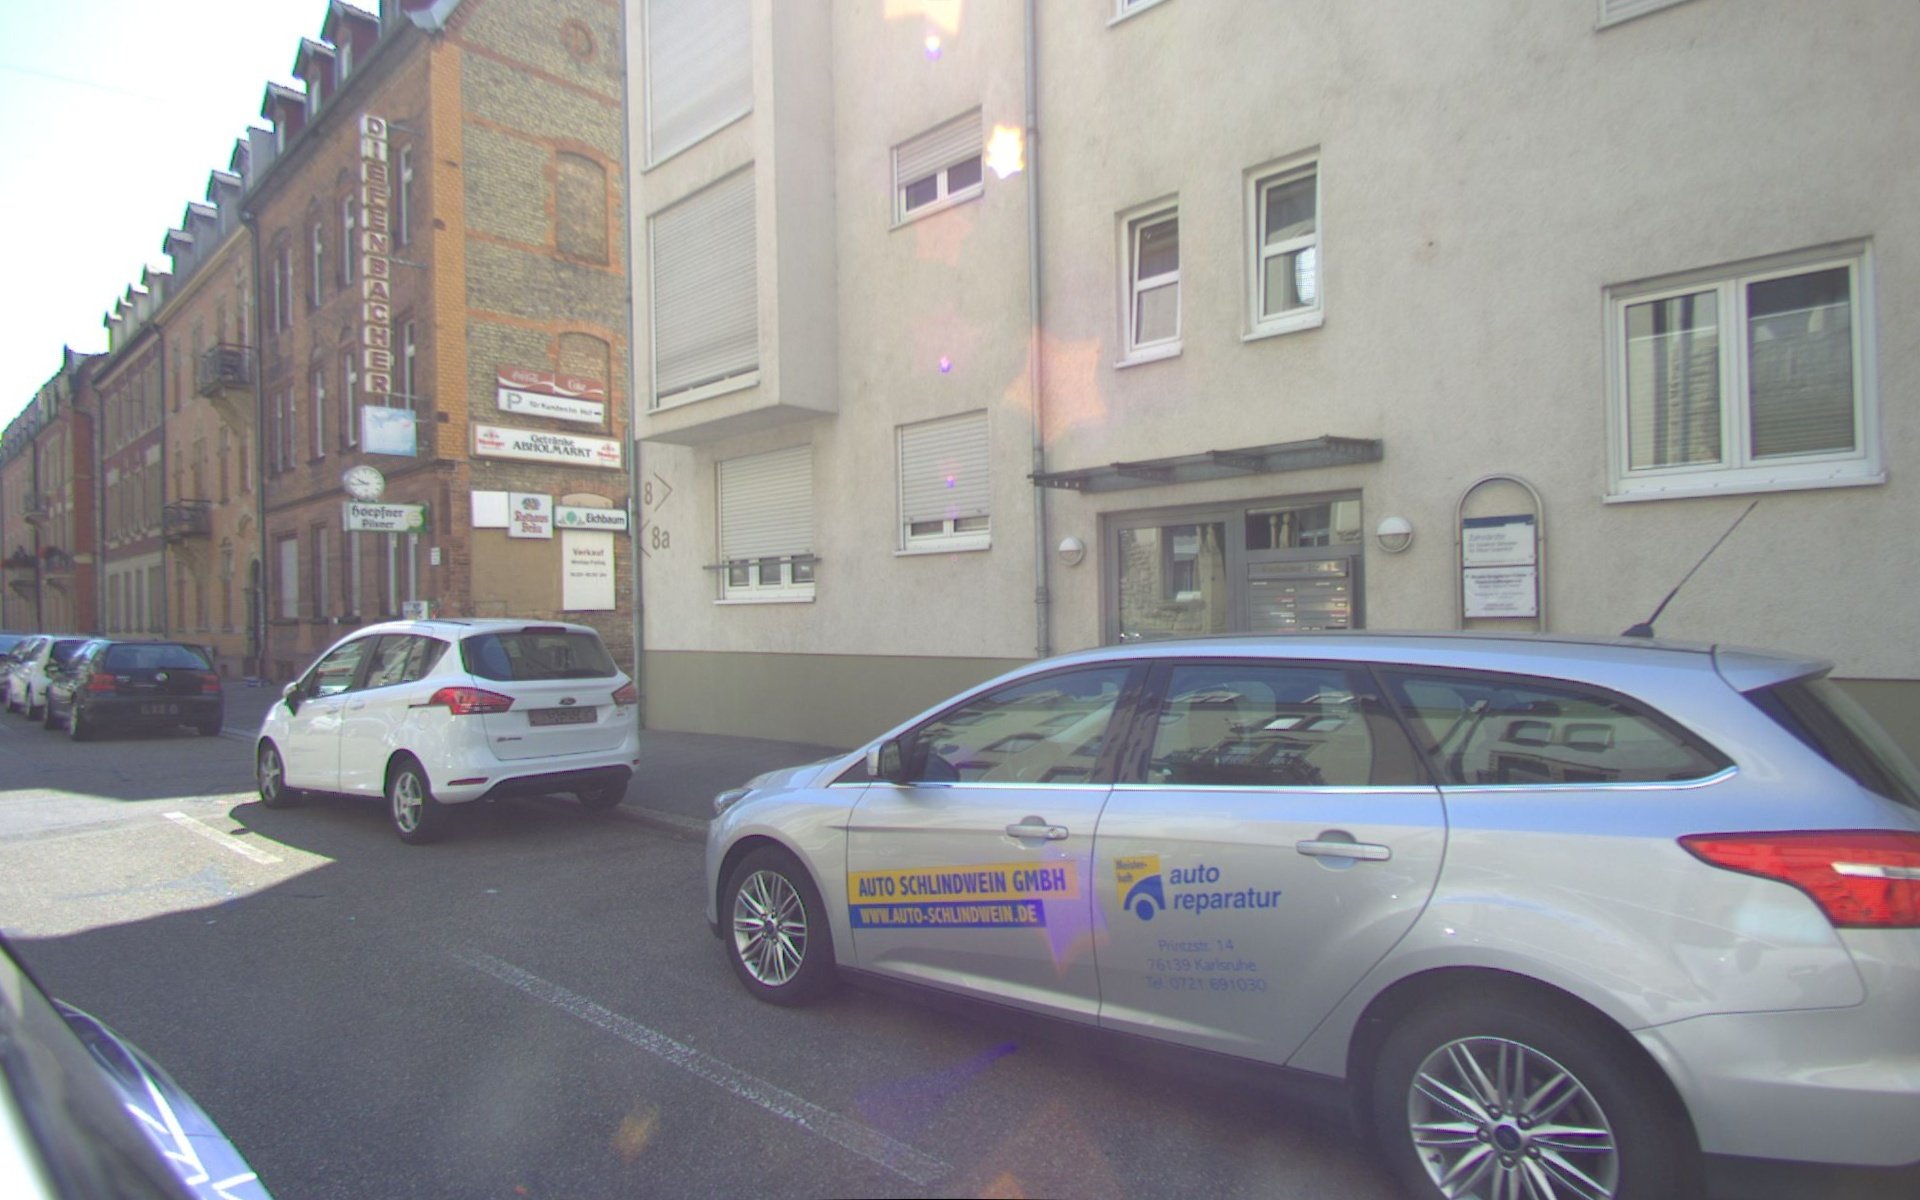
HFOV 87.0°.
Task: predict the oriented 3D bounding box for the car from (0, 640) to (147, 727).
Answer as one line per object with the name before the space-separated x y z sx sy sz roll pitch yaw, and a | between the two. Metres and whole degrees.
car | -16.453 1.488 18.668 3.677 1.440 1.611 -2 -5 42

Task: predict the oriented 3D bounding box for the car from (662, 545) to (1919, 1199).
car | 0.953 0.732 3.630 4.344 1.506 1.713 -2 -4 39

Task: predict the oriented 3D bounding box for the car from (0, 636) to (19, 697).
car | -28.090 1.851 28.758 3.522 1.655 1.432 -2 -5 40

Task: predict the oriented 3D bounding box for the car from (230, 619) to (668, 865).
car | -4.286 1.001 8.292 3.847 1.561 1.613 -2 -5 37

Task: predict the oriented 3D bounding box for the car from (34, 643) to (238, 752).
car | -12.607 1.413 15.413 3.835 1.440 1.758 -2 -5 42

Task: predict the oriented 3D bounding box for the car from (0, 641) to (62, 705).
car | -23.367 1.748 24.750 3.521 1.484 1.432 -2 -5 39

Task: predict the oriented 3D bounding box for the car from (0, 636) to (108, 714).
car | -19.988 1.596 22.026 3.520 1.555 1.432 -2 -5 38
